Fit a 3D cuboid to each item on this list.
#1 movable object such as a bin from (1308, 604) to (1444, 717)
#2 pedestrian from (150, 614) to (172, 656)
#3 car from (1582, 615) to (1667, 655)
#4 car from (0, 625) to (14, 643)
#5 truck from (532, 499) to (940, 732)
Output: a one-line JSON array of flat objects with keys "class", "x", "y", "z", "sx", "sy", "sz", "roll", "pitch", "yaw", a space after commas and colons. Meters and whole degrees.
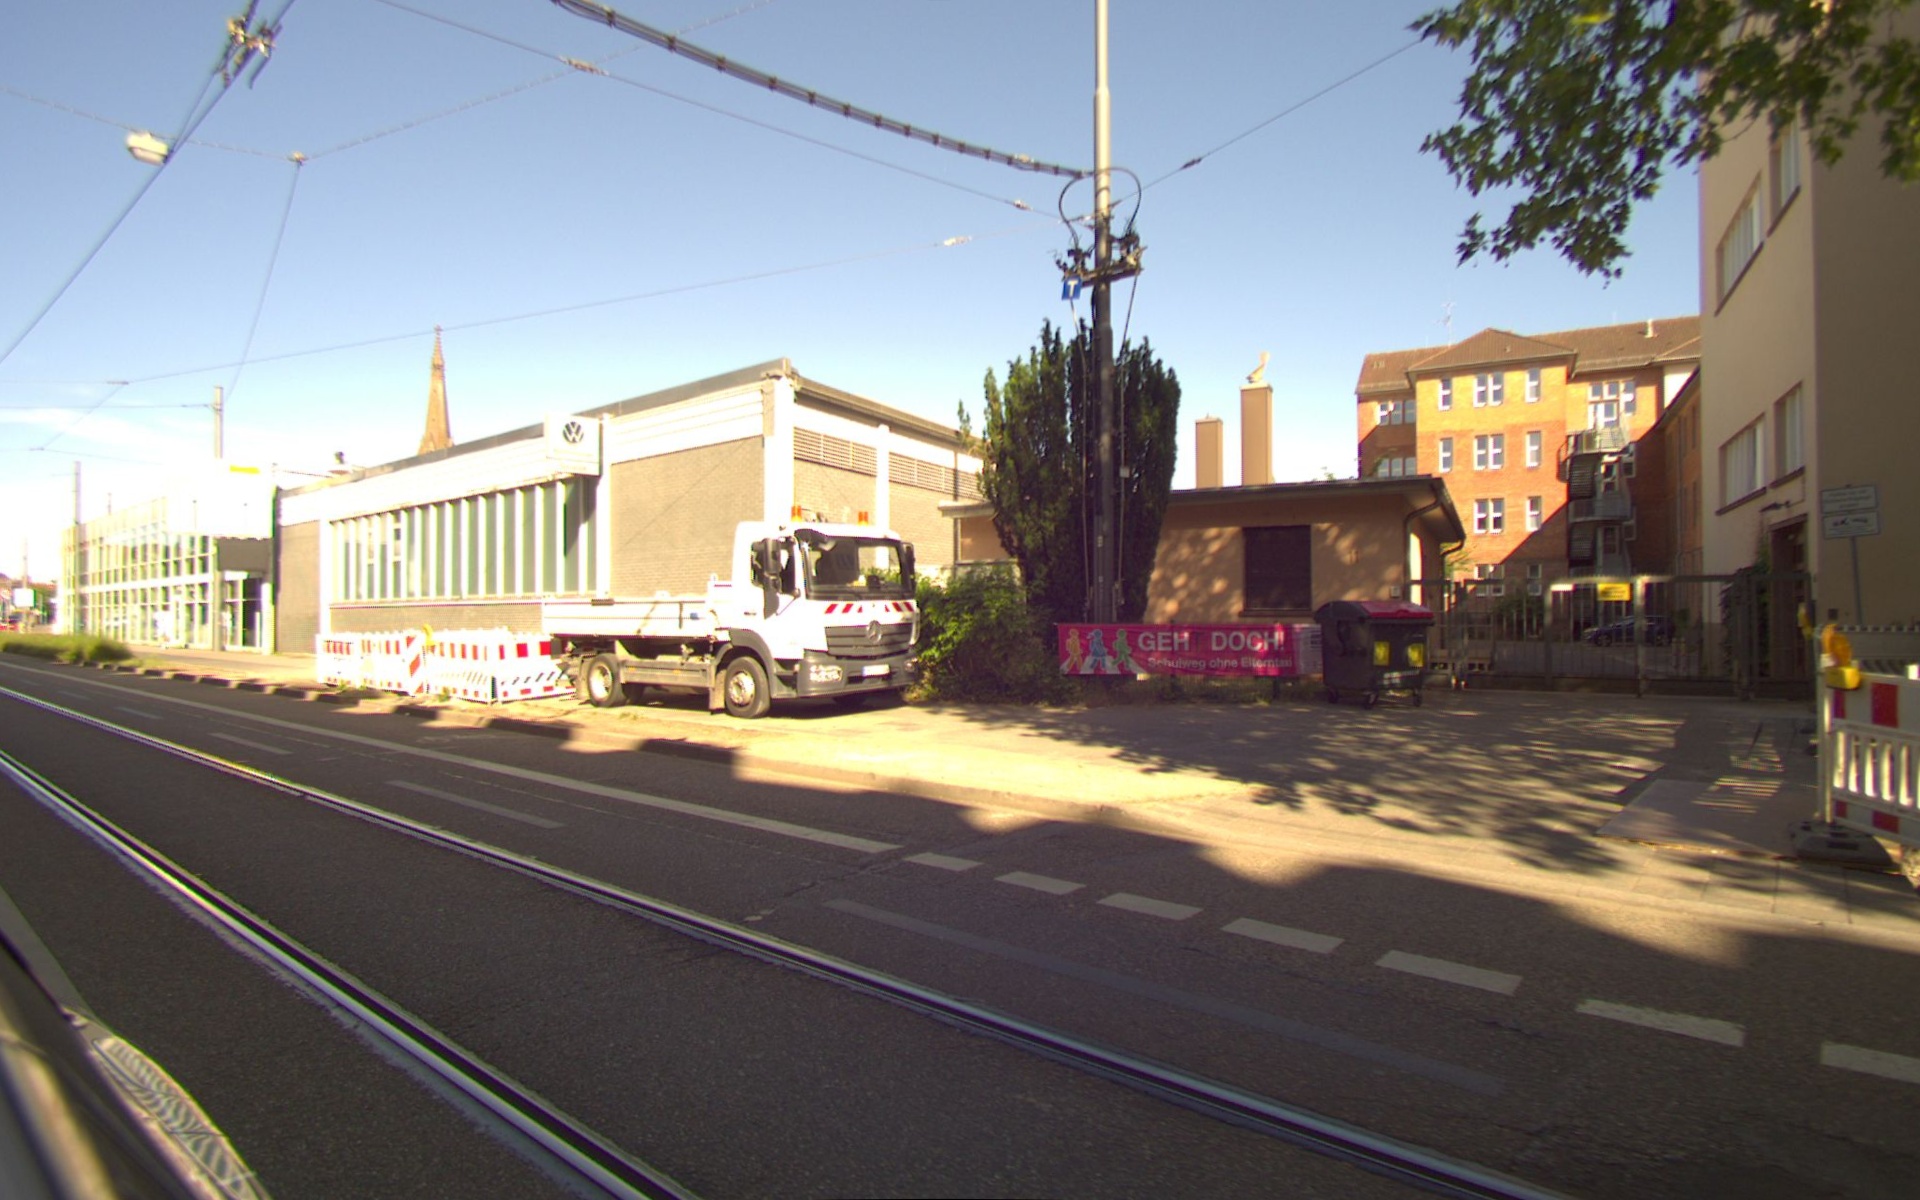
[{"class": "movable object such as a bin", "x": 5.653, "y": 0.780, "z": 13.793, "sx": 1.120, "sy": 1.416, "sz": 1.291, "roll": -1, "pitch": 0, "yaw": -33}, {"class": "pedestrian", "x": -34.103, "y": 1.477, "z": 43.215, "sx": 1.050, "sy": 1.778, "sz": 0.521, "roll": -1, "pitch": 0, "yaw": 41}, {"class": "car", "x": 36.188, "y": 1.866, "z": 55.198, "sx": 3.804, "sy": 2.029, "sz": 1.847, "roll": -1, "pitch": 0, "yaw": 34}, {"class": "car", "x": -94.643, "y": 3.345, "z": 99.937, "sx": 1.778, "sy": 1.732, "sz": 4.420, "roll": 2, "pitch": -2, "yaw": -44}, {"class": "truck", "x": -3.580, "y": 0.199, "z": 15.356, "sx": 6.366, "sy": 2.851, "sz": 2.515, "roll": -1, "pitch": 0, "yaw": 37}]
